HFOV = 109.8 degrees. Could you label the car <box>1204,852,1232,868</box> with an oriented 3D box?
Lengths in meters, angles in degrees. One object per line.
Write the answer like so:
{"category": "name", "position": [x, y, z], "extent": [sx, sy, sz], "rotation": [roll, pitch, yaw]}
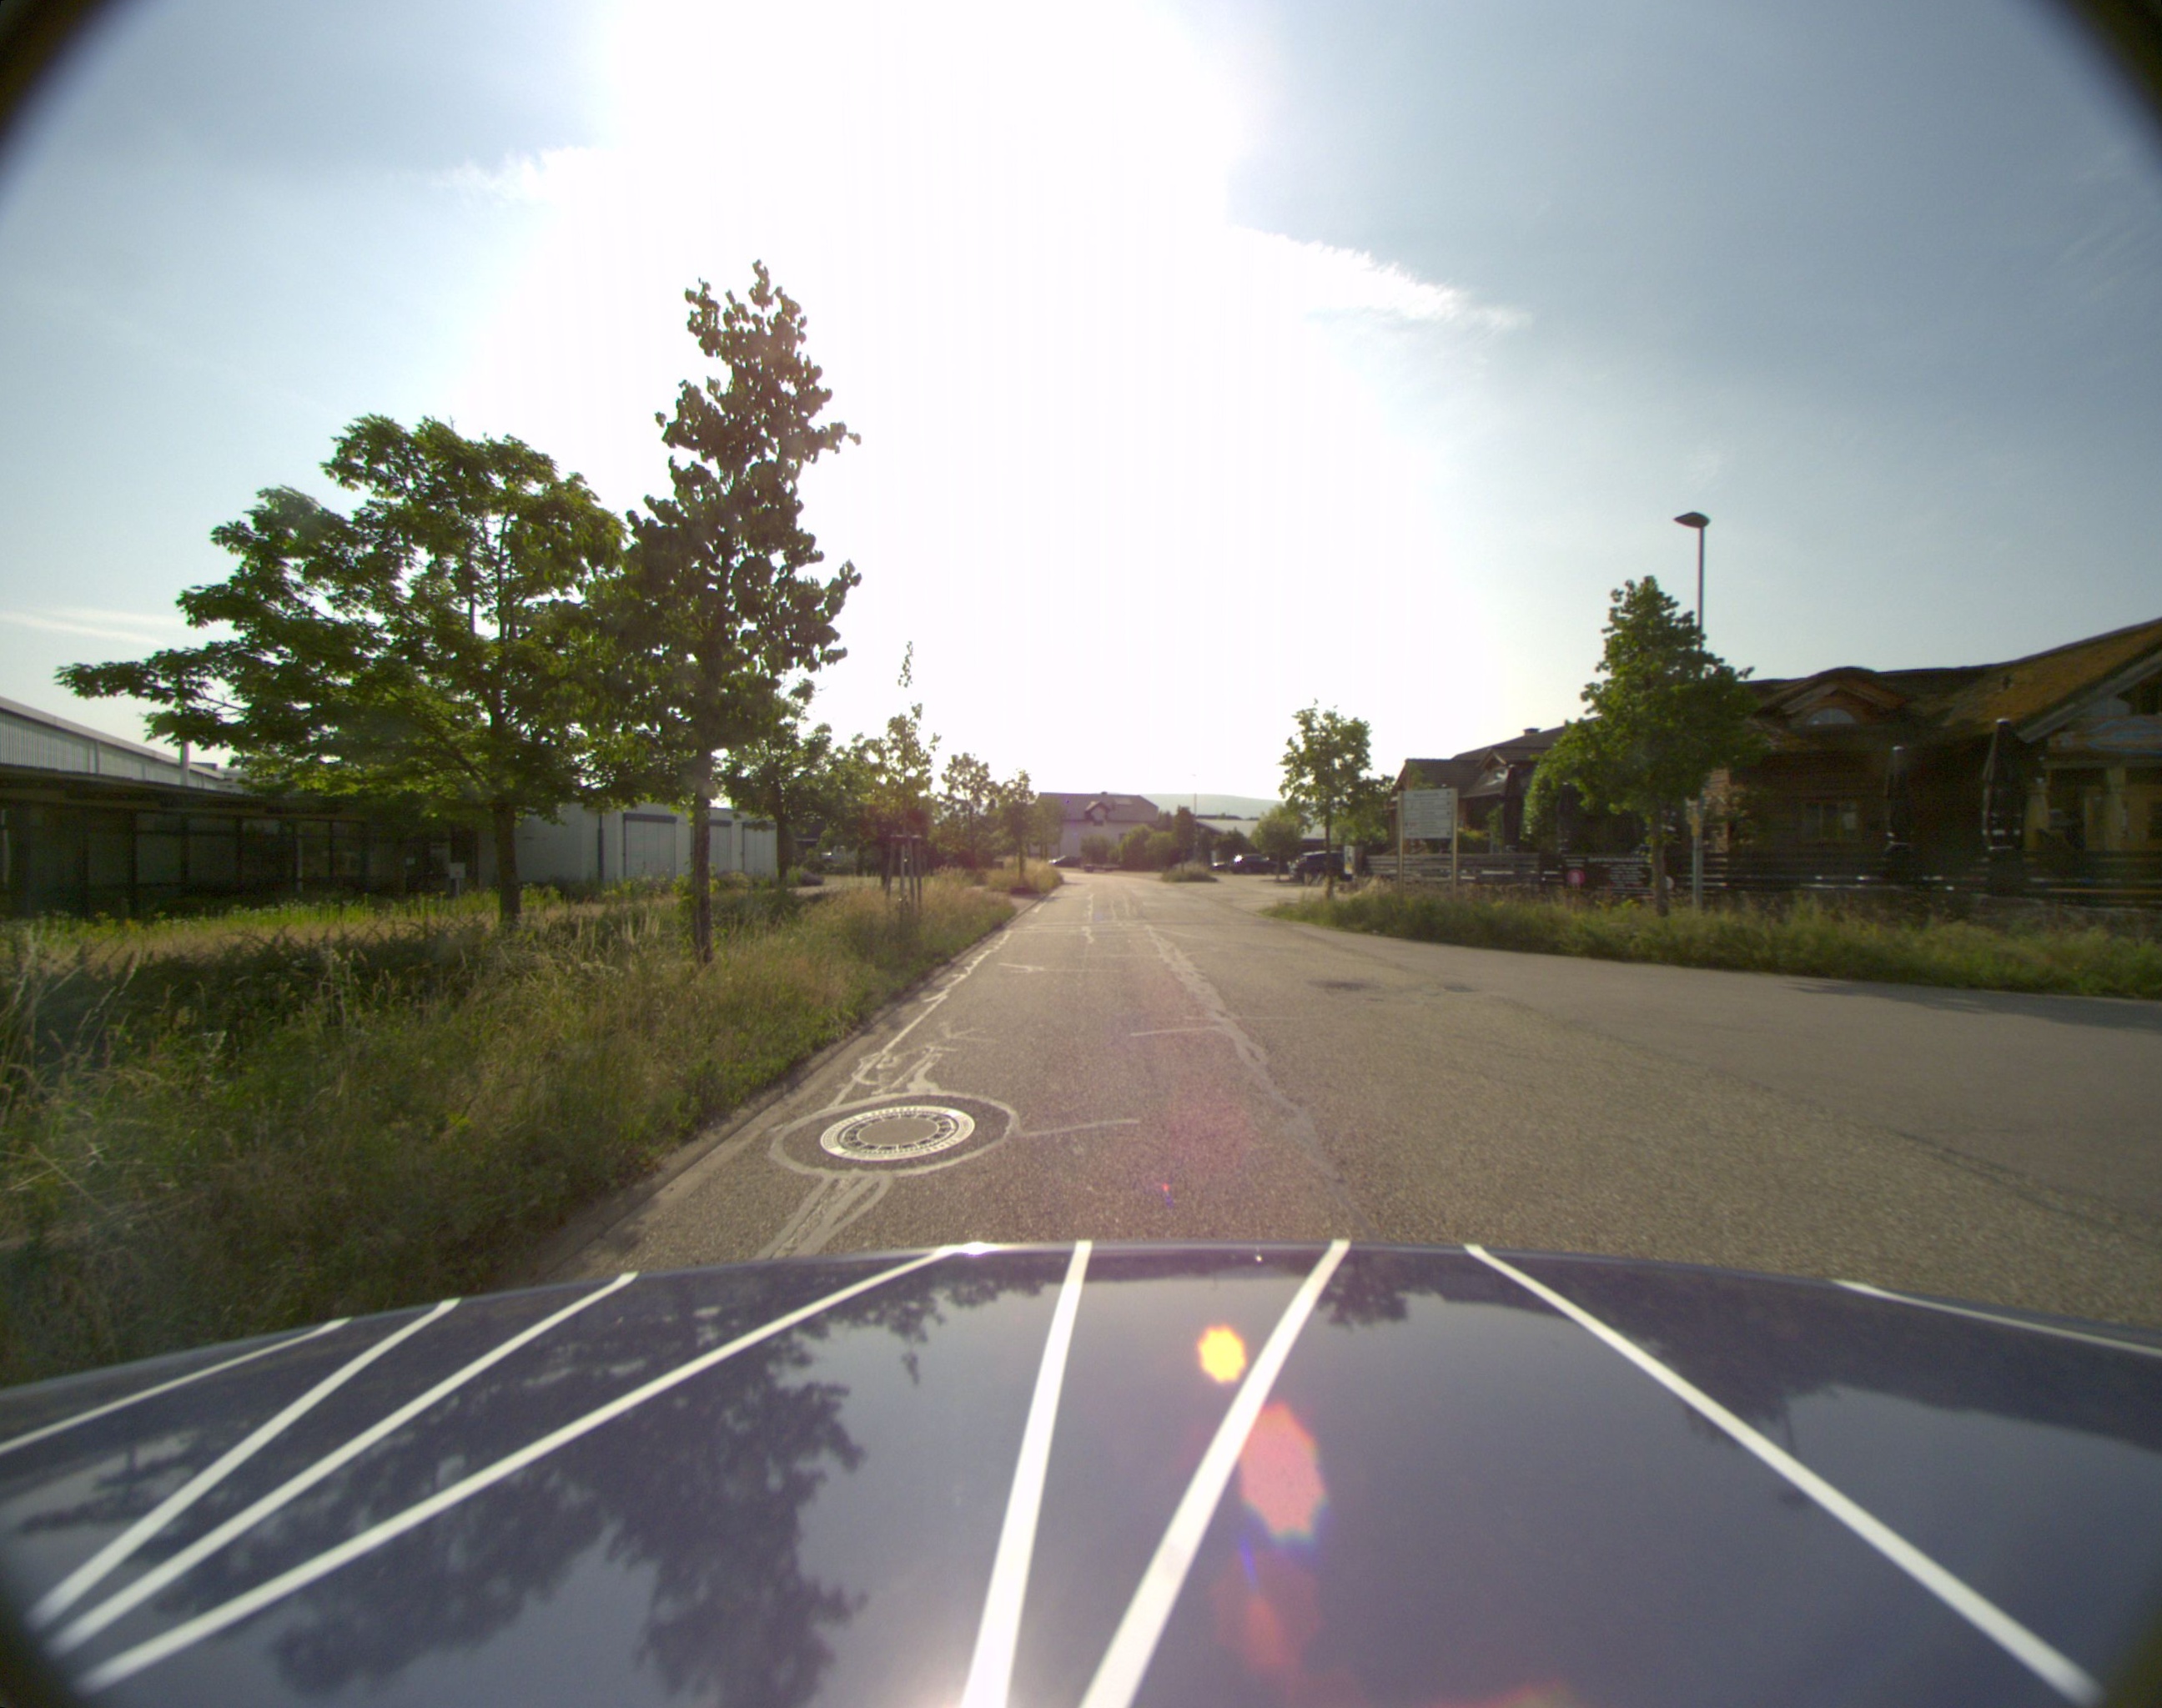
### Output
{"category": "car", "position": [12.564, 0.525, 69.936], "extent": [1.615, 1.472, 3.549], "rotation": [0, 0, -6]}

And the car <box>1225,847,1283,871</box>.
{"category": "car", "position": [13.684, 0.385, 60.108], "extent": [4.004, 1.783, 1.996], "rotation": [-1, 0, -20]}

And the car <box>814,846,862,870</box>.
{"category": "car", "position": [-18.801, 0.276, 58.924], "extent": [1.598, 1.672, 3.761], "rotation": [-2, 1, 17]}

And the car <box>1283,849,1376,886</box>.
{"category": "car", "position": [12.168, 0.648, 37.420], "extent": [3.996, 1.718, 2.000], "rotation": [0, 0, 2]}

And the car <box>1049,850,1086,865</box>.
{"category": "car", "position": [-1.684, 0.452, 92.104], "extent": [4.004, 1.761, 1.996], "rotation": [-1, 0, -23]}
